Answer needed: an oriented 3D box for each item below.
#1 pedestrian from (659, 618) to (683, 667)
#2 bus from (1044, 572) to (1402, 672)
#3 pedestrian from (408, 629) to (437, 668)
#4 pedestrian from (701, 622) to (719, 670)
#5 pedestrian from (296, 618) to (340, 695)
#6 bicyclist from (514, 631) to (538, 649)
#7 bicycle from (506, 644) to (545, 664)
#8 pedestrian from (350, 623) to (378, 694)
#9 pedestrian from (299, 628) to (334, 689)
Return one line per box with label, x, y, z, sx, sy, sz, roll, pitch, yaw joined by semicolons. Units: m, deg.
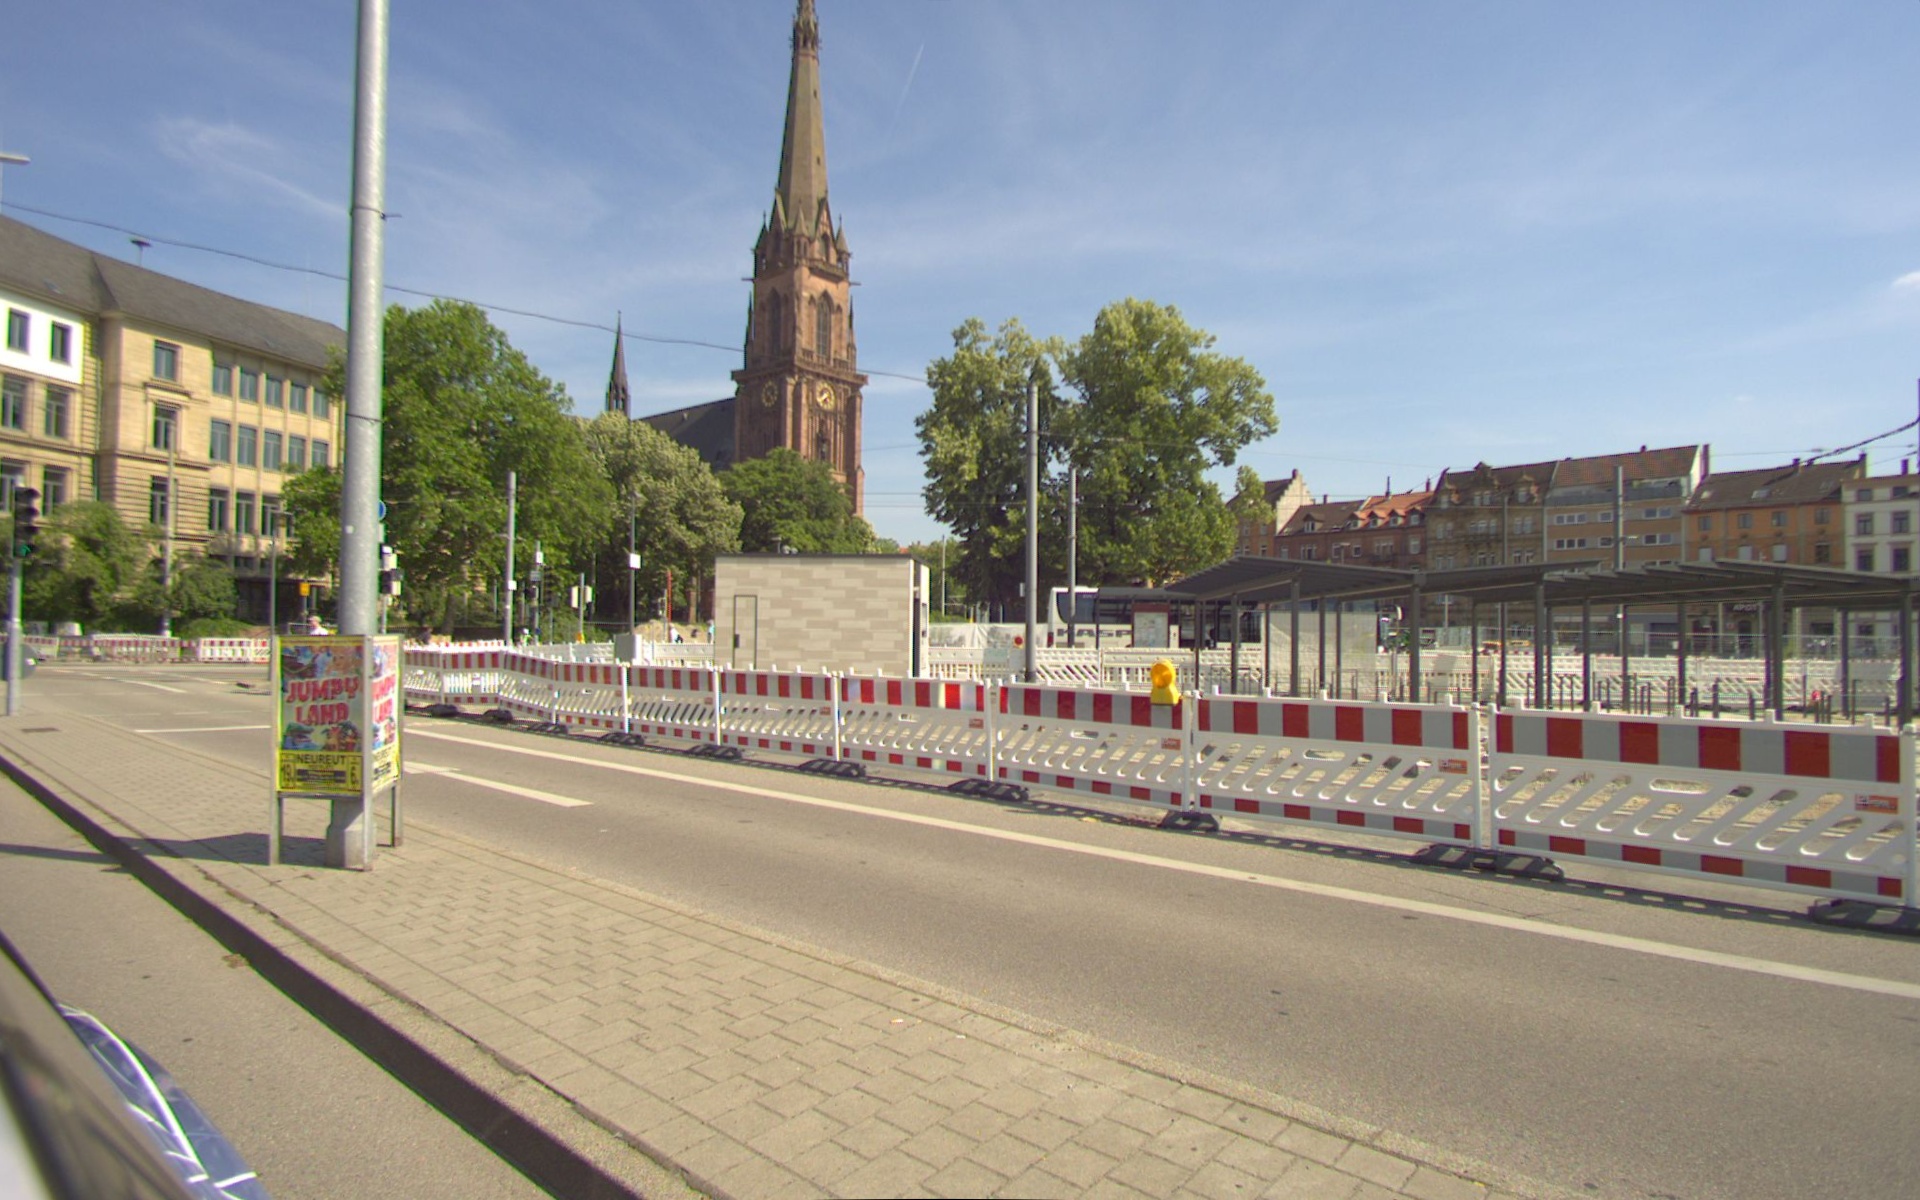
pedestrian;-9.816;1.444;34.403;0.780;1.628;0.664;0;-2;-15
bus;9.400;0.801;37.595;12.504;3.516;2.856;0;-2;7
pedestrian;-23.060;2.081;43.426;0.926;1.668;0.845;2;-3;-41
pedestrian;-8.579;1.578;34.681;0.576;1.628;0.691;0;-2;-12
pedestrian;-15.592;1.362;24.592;0.828;1.826;0.651;1;-3;-37
bicyclist;-21.948;2.022;51.180;0.858;0.934;0.682;0;-2;2
bicycle;-21.969;2.729;51.160;1.643;0.954;0.701;0;-2;2
pedestrian;-13.928;1.362;23.642;0.686;1.628;0.346;-2;-3;42
pedestrian;-16.937;1.533;26.634;0.656;1.555;0.424;-2;0;-19
